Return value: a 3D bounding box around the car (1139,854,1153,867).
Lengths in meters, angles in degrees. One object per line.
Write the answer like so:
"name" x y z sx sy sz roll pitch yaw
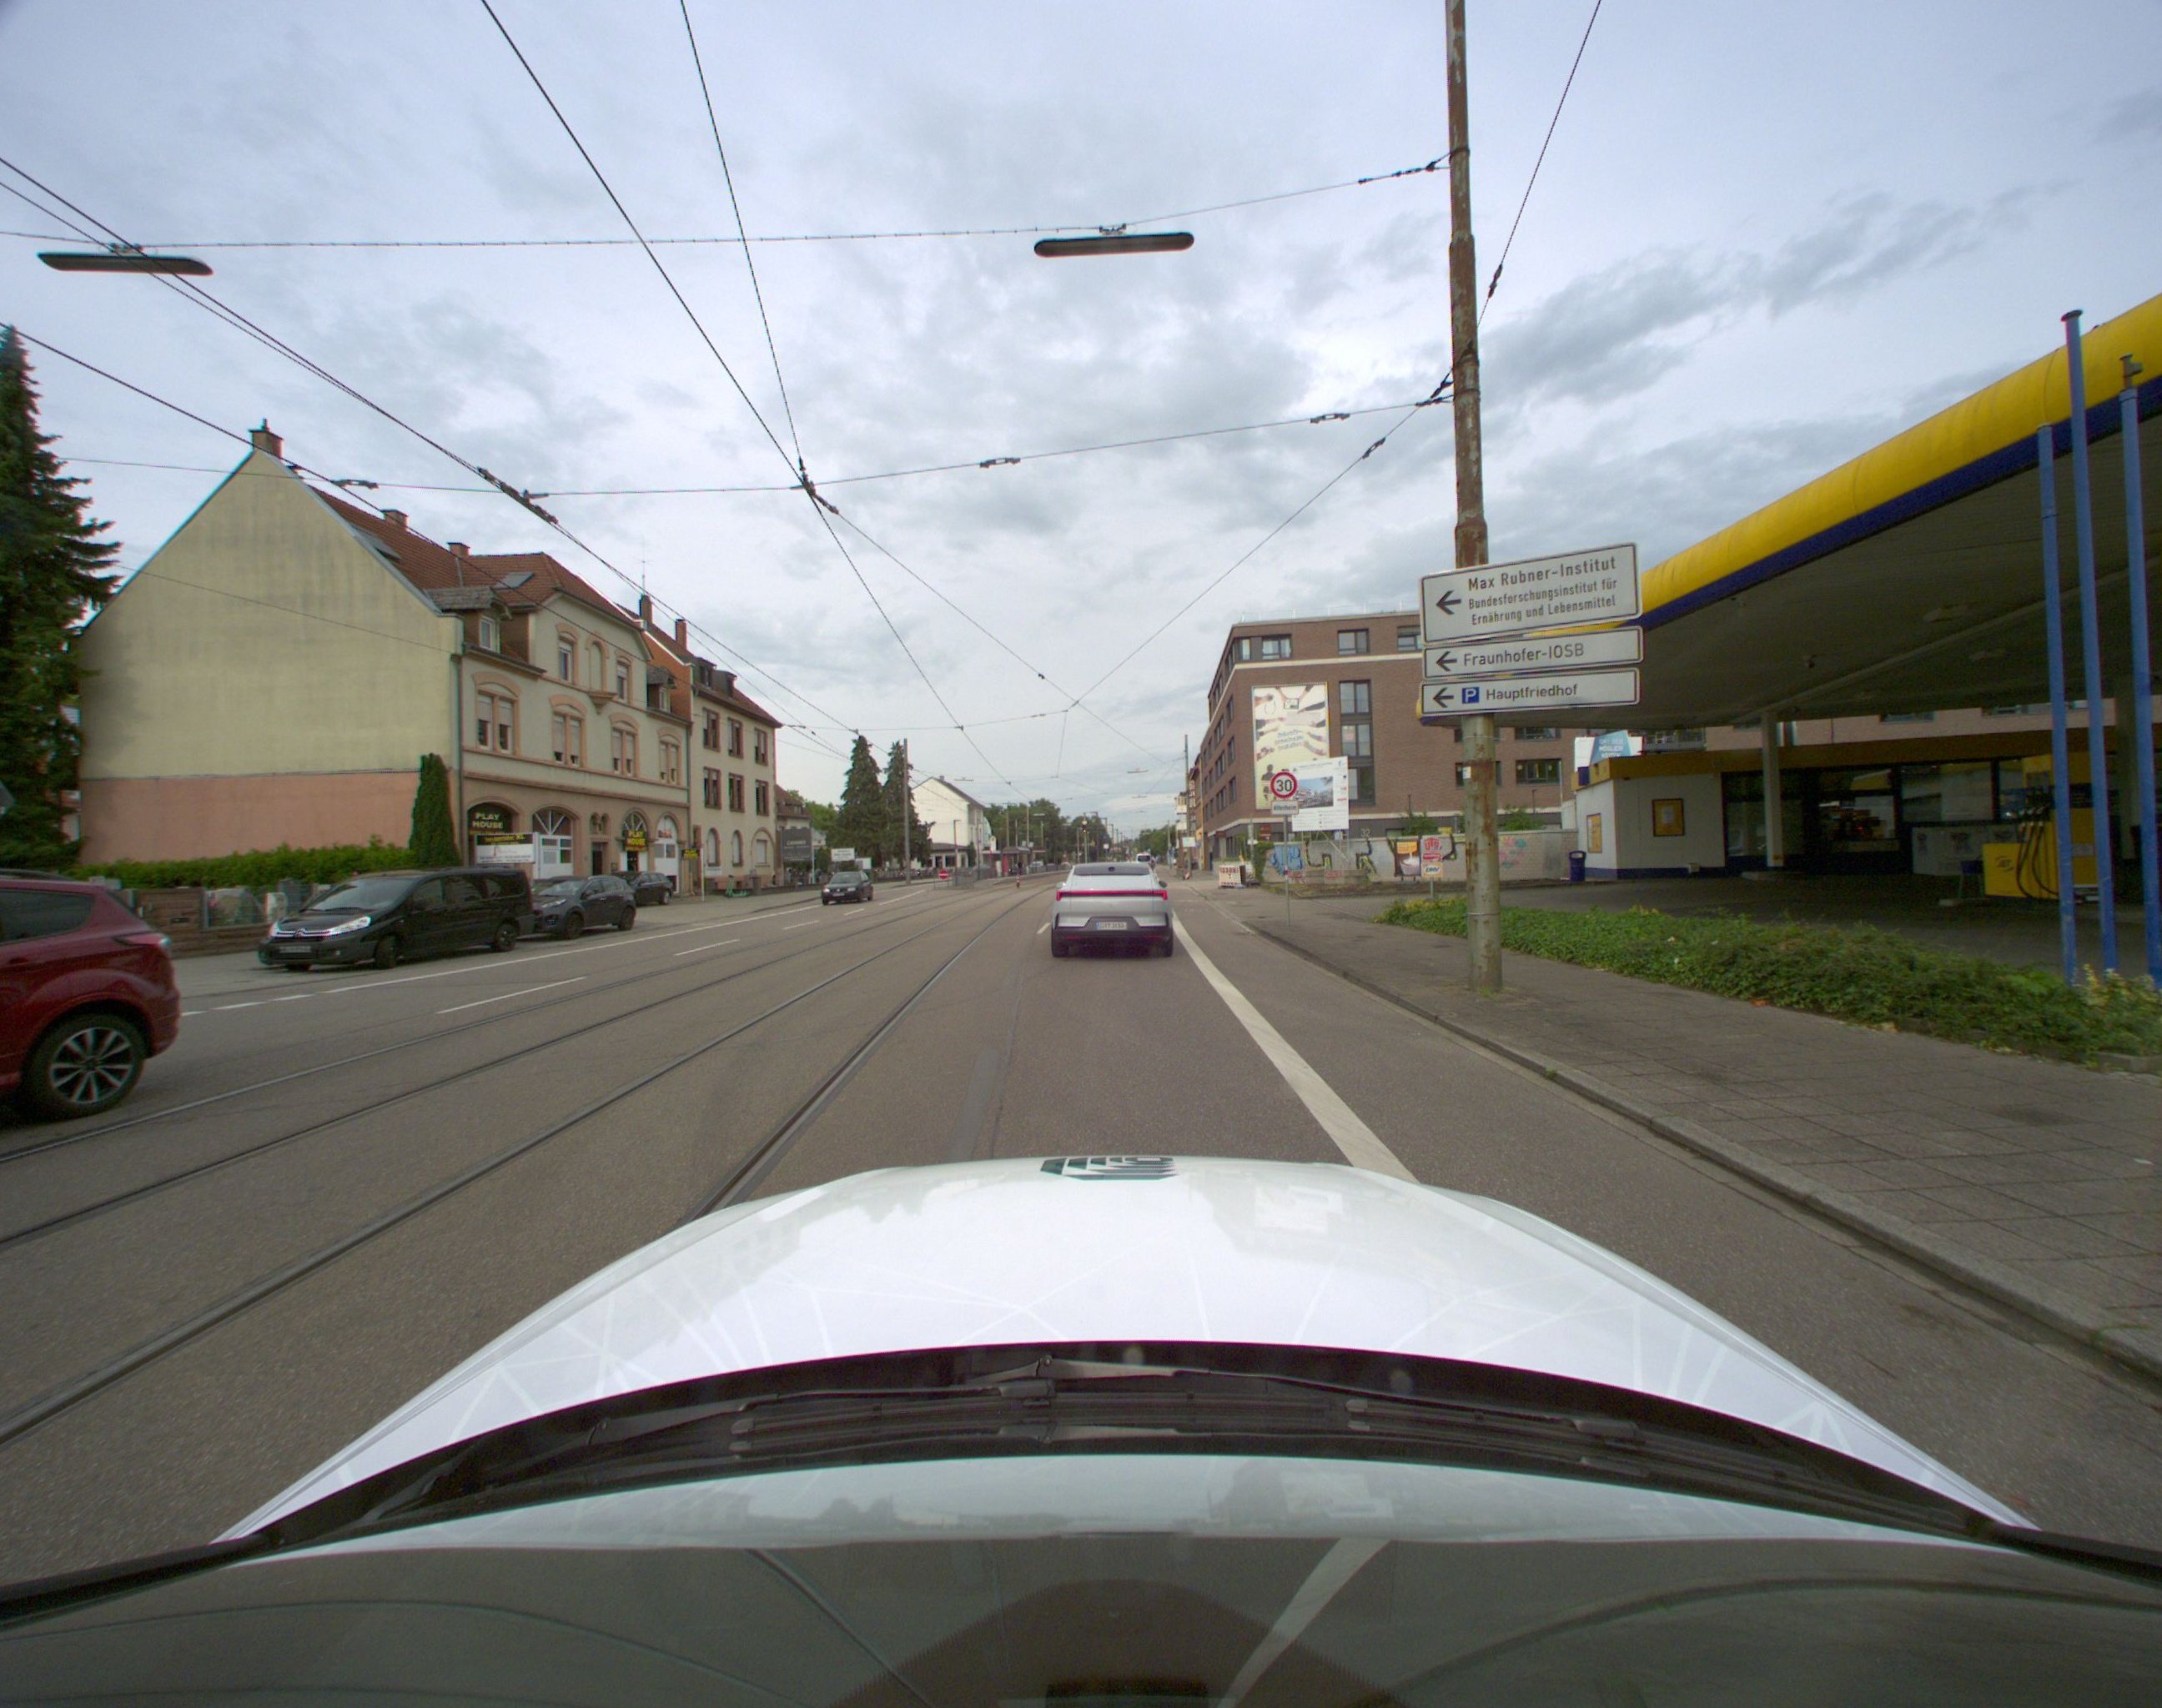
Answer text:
"car" 10.491 1.076 131.984 1.986 2.014 4.001 -1 -1 2

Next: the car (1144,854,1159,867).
"car" 10.513 1.001 122.234 1.986 2.014 4.001 -1 -1 2

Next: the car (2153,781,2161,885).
"car" 19.178 -0.353 12.085 1.803 1.988 4.274 -3 -2 19

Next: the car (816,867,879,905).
"car" -10.585 1.433 37.236 1.786 1.530 4.136 -4 -1 -3

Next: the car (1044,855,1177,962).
"car" 0.470 0.857 14.292 1.993 1.581 4.000 -1 -1 0

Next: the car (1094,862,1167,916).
"car" 1.512 0.990 24.741 1.985 1.420 4.004 -2 -1 4

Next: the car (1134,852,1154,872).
"car" 7.714 0.994 100.663 2.218 2.402 5.124 -1 -1 1

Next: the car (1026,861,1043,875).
"car" -6.736 1.986 117.630 1.876 1.989 4.529 -2 -1 3

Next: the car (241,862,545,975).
"car" -13.943 1.187 17.085 1.981 2.014 5.182 0 -1 -1

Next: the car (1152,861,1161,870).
"car" 18.606 2.856 201.859 1.986 2.014 4.001 -1 -1 1

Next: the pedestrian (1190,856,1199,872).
"pedestrian" 13.743 1.250 98.435 0.955 1.850 0.978 -4 0 11

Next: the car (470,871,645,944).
"car" -14.331 1.390 22.689 2.032 1.749 4.531 0 0 -2

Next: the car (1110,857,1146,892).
"car" 2.454 1.016 41.870 1.673 1.687 3.829 -1 -1 5

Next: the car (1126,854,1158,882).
"car" 4.247 0.975 57.518 1.986 1.816 4.001 -2 -1 1

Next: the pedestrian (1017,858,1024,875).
"pedestrian" -6.245 1.276 84.060 0.612 1.665 0.699 -1 -1 8

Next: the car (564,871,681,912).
"car" -18.600 1.459 33.325 1.987 1.493 4.901 -1 -1 0

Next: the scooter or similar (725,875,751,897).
"scooter or similar" -18.078 1.666 42.922 1.181 1.102 0.523 0 -1 -29

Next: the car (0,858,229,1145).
"car" -7.357 0.900 4.057 1.840 1.724 4.398 -2 -1 -6
